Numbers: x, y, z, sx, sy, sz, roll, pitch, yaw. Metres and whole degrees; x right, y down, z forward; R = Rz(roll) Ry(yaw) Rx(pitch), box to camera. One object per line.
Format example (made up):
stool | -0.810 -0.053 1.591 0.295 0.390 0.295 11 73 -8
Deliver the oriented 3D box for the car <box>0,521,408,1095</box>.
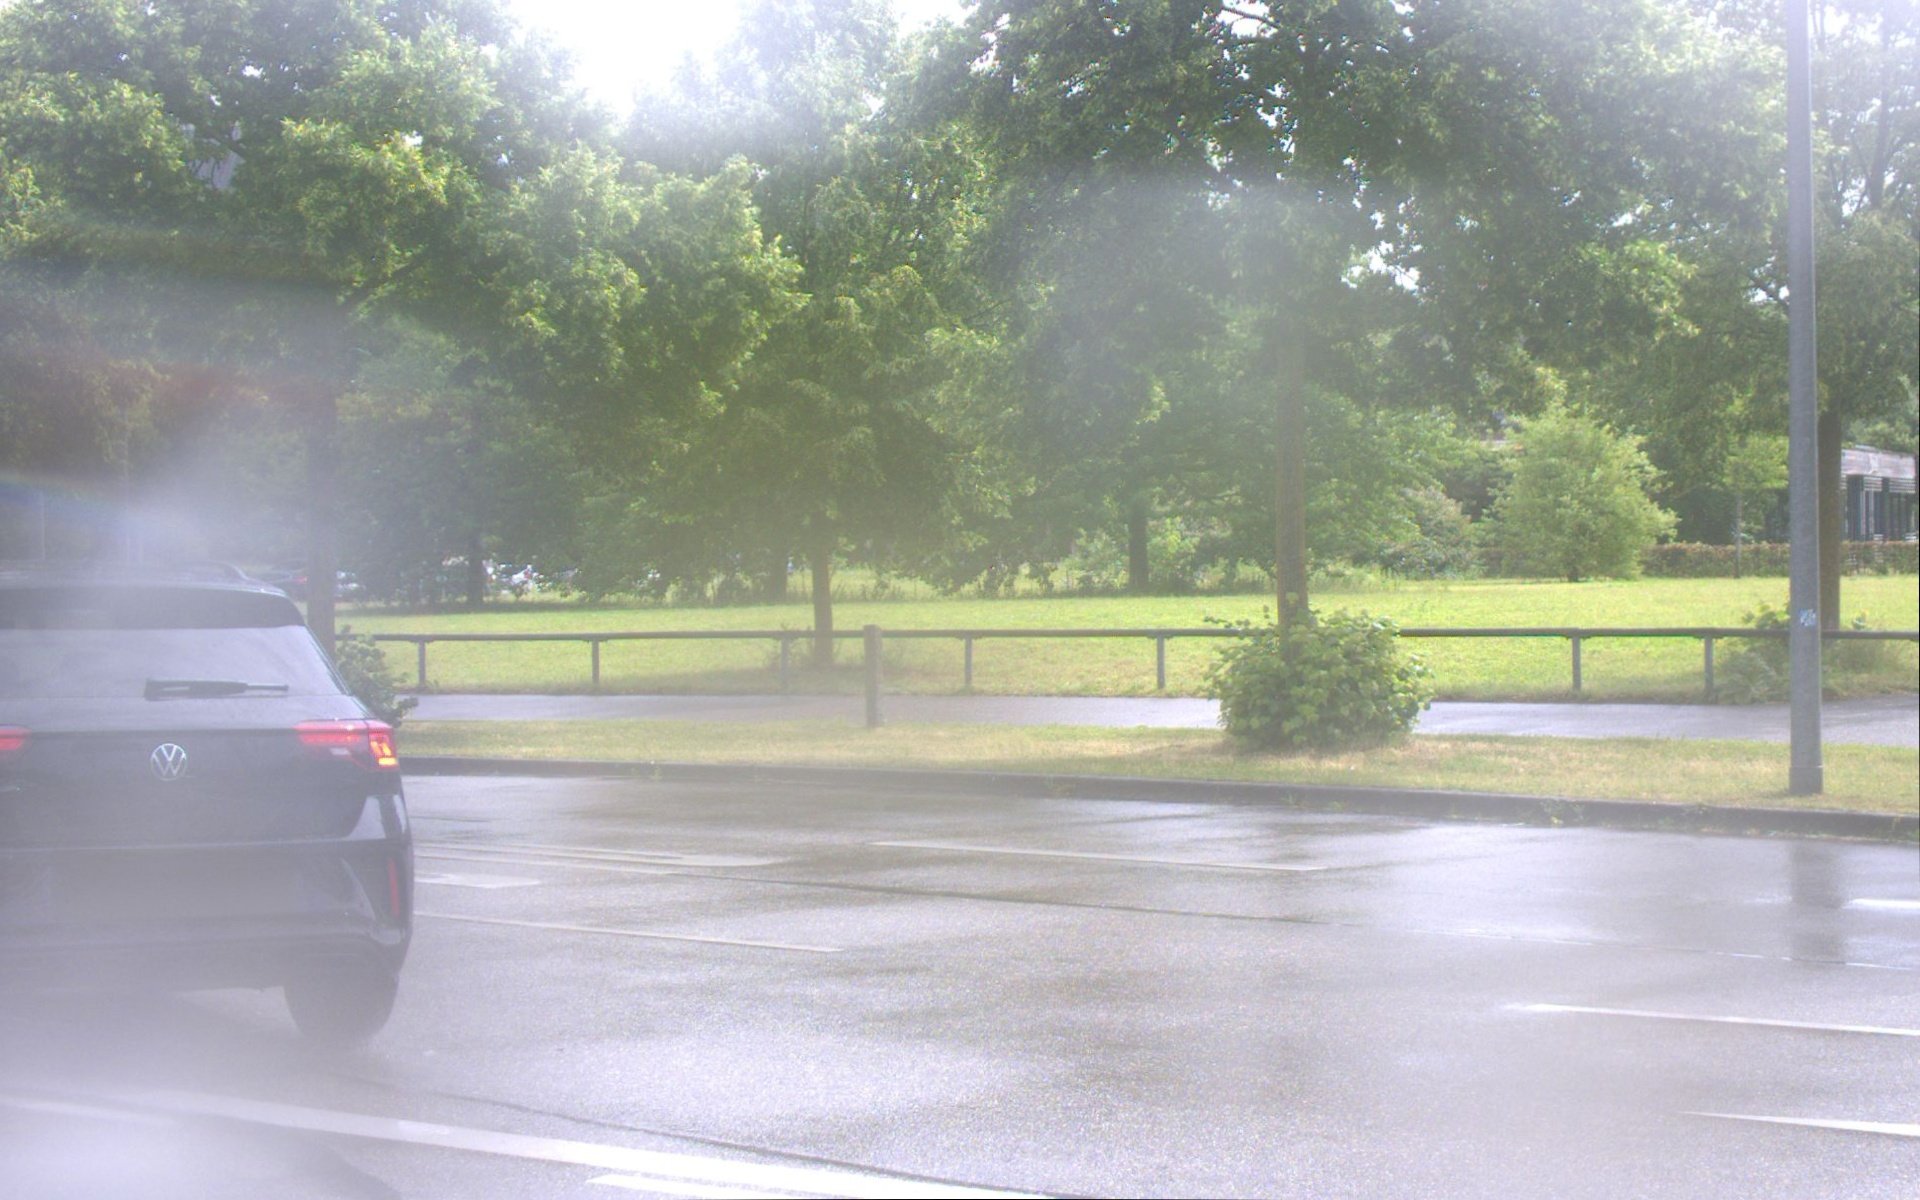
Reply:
car | -3.039 0.582 11.690 1.897 1.612 4.001 -1 0 -15

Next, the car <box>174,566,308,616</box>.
car | -23.515 -0.288 112.416 3.971 1.554 1.848 -1 1 26

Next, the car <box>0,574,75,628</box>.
car | -28.489 0.040 102.130 3.971 1.554 1.848 -1 1 26
